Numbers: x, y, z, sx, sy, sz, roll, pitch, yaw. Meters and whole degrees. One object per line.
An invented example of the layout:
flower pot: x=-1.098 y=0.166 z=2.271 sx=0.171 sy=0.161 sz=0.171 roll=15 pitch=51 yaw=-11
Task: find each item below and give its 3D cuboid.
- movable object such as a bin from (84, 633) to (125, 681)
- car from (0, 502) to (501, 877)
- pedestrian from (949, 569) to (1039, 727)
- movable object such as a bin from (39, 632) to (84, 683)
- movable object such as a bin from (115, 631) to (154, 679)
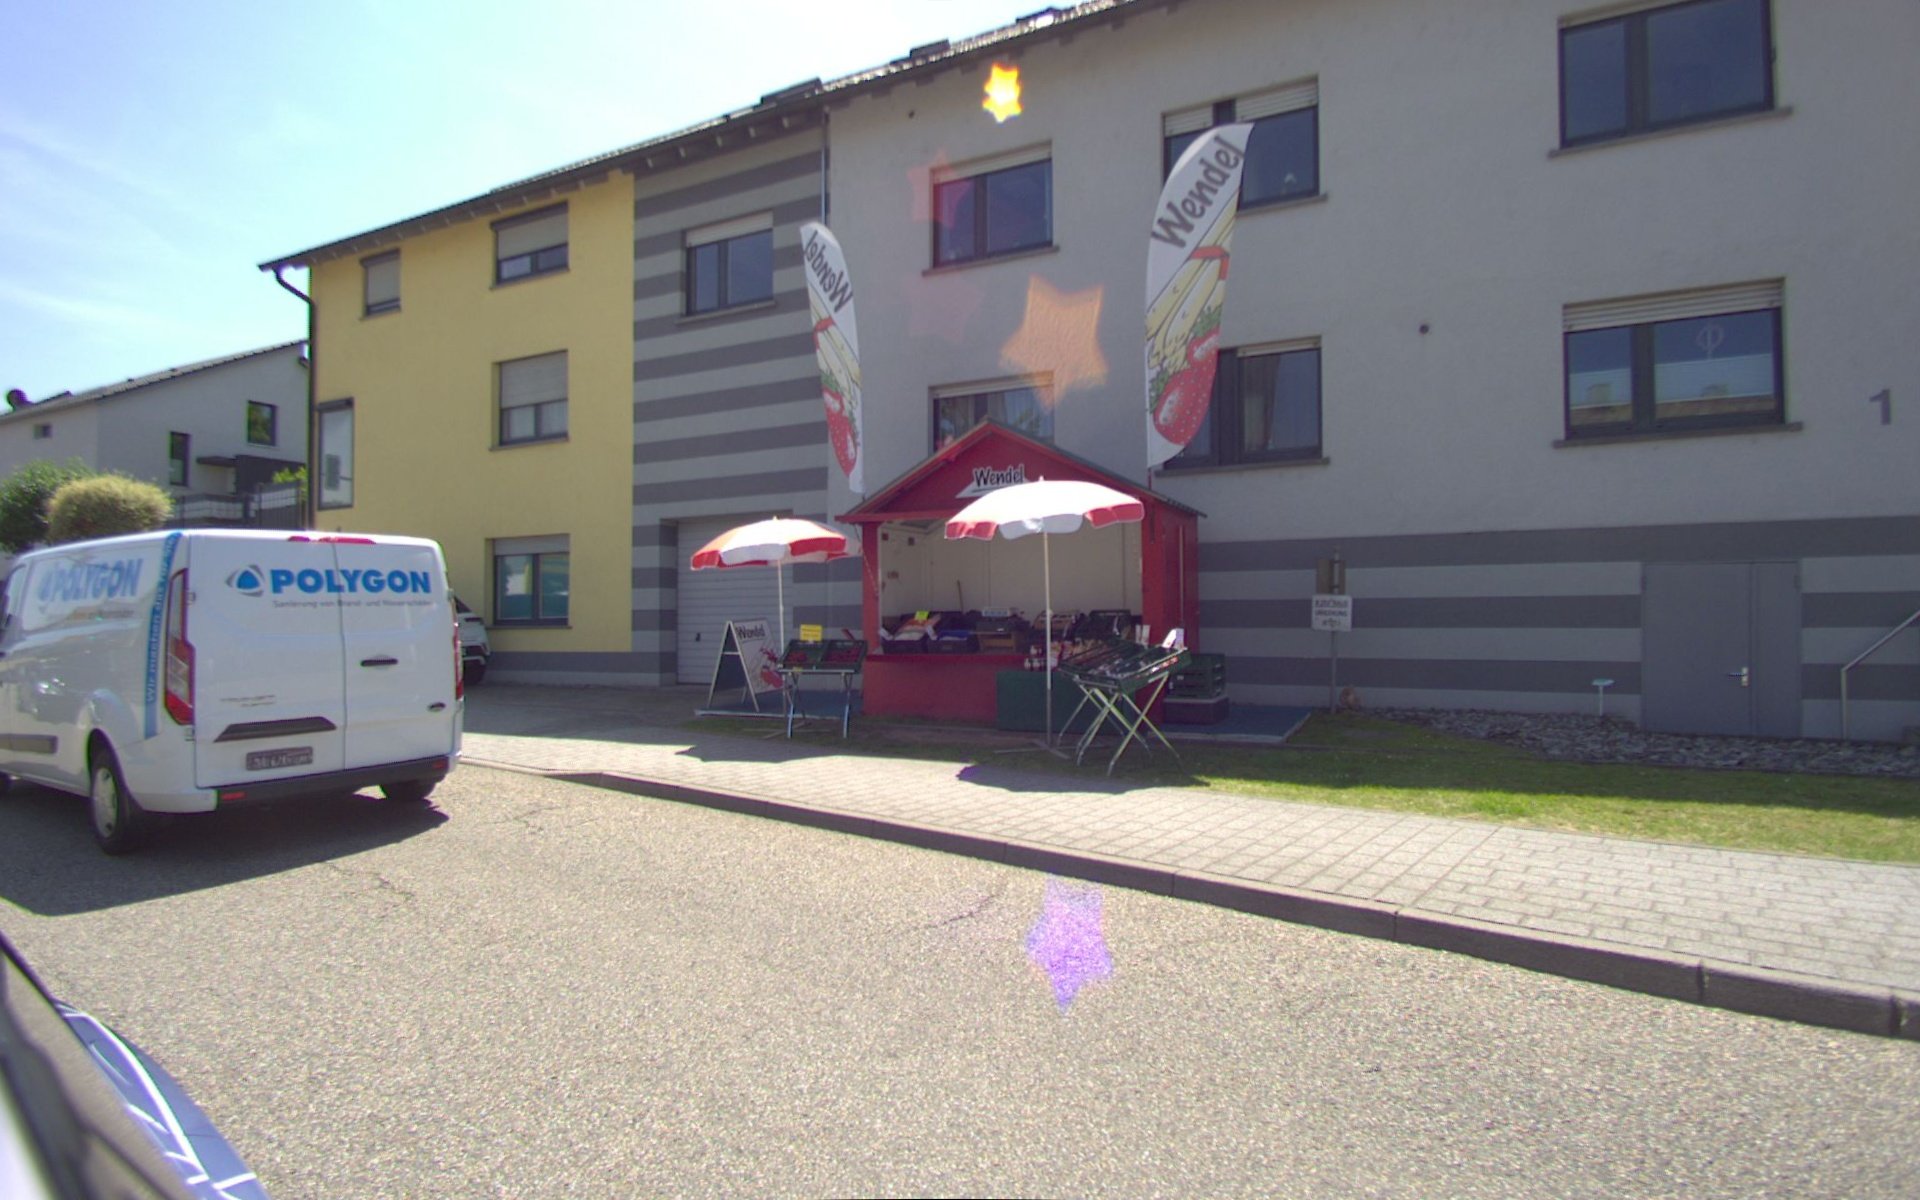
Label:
movable object such as a bin: x=-17.201 y=1.135 z=20.358 sx=0.559 sy=0.935 sz=0.444 roll=-1 pitch=-1 yaw=26
car: x=-5.920 y=0.505 z=7.742 sx=5.201 sy=2.015 sz=1.977 roll=-1 pitch=0 yaw=34
pedestrian: x=0.349 y=0.490 z=10.719 sx=0.602 sy=1.600 sz=0.811 roll=0 pitch=-1 yaw=-30
movable object such as a bin: x=-17.520 y=1.108 z=19.735 sx=0.551 sy=0.955 sz=0.498 roll=-1 pitch=-1 yaw=26
movable object such as a bin: x=-16.993 y=1.126 z=20.825 sx=0.528 sy=0.945 sz=0.444 roll=-1 pitch=-1 yaw=26
